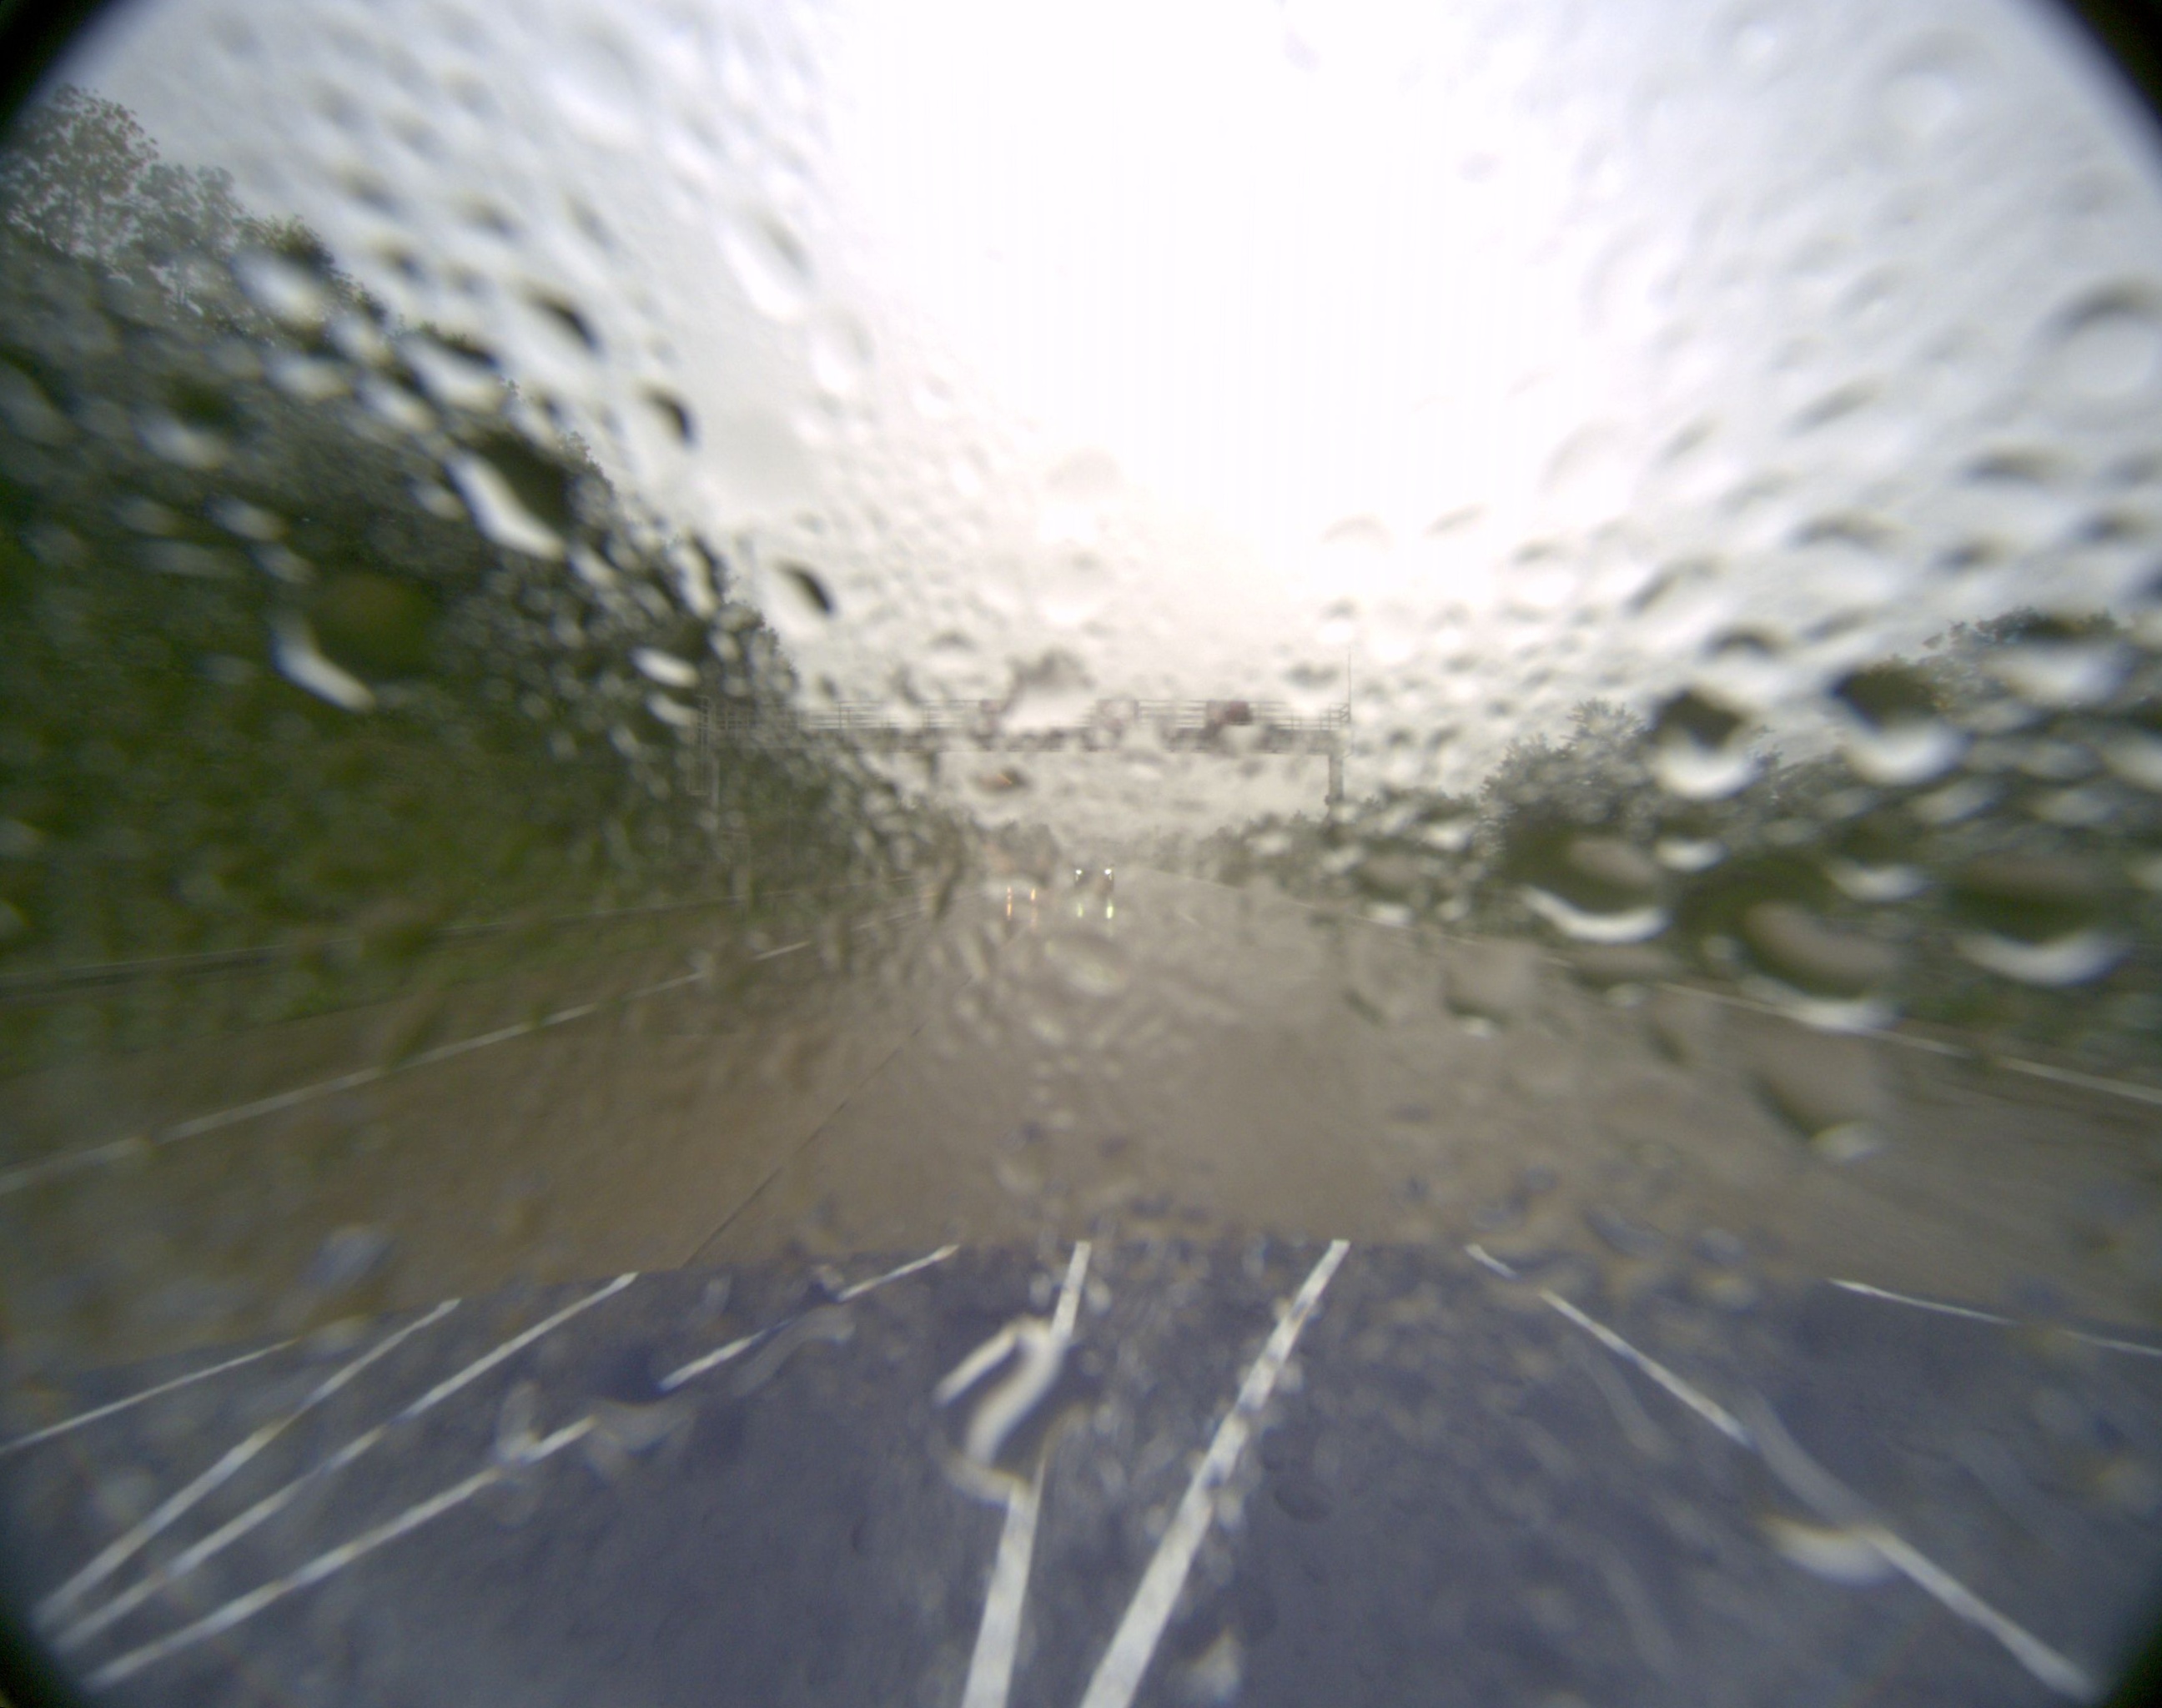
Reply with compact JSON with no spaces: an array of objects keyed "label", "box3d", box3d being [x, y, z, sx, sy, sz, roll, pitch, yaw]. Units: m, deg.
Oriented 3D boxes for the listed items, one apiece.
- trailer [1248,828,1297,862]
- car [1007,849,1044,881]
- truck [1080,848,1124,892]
[{"label":"trailer","box3d":[22.869,-1.024,91.635,2.972,3.653,12.286,-1,0,1]},{"label":"car","box3d":[-3.599,0.689,49.666,1.859,2.002,4.001,-1,0,4]},{"label":"truck","box3d":[0.998,0.719,38.754,1.998,2.002,7.575,0,0,0]}]
